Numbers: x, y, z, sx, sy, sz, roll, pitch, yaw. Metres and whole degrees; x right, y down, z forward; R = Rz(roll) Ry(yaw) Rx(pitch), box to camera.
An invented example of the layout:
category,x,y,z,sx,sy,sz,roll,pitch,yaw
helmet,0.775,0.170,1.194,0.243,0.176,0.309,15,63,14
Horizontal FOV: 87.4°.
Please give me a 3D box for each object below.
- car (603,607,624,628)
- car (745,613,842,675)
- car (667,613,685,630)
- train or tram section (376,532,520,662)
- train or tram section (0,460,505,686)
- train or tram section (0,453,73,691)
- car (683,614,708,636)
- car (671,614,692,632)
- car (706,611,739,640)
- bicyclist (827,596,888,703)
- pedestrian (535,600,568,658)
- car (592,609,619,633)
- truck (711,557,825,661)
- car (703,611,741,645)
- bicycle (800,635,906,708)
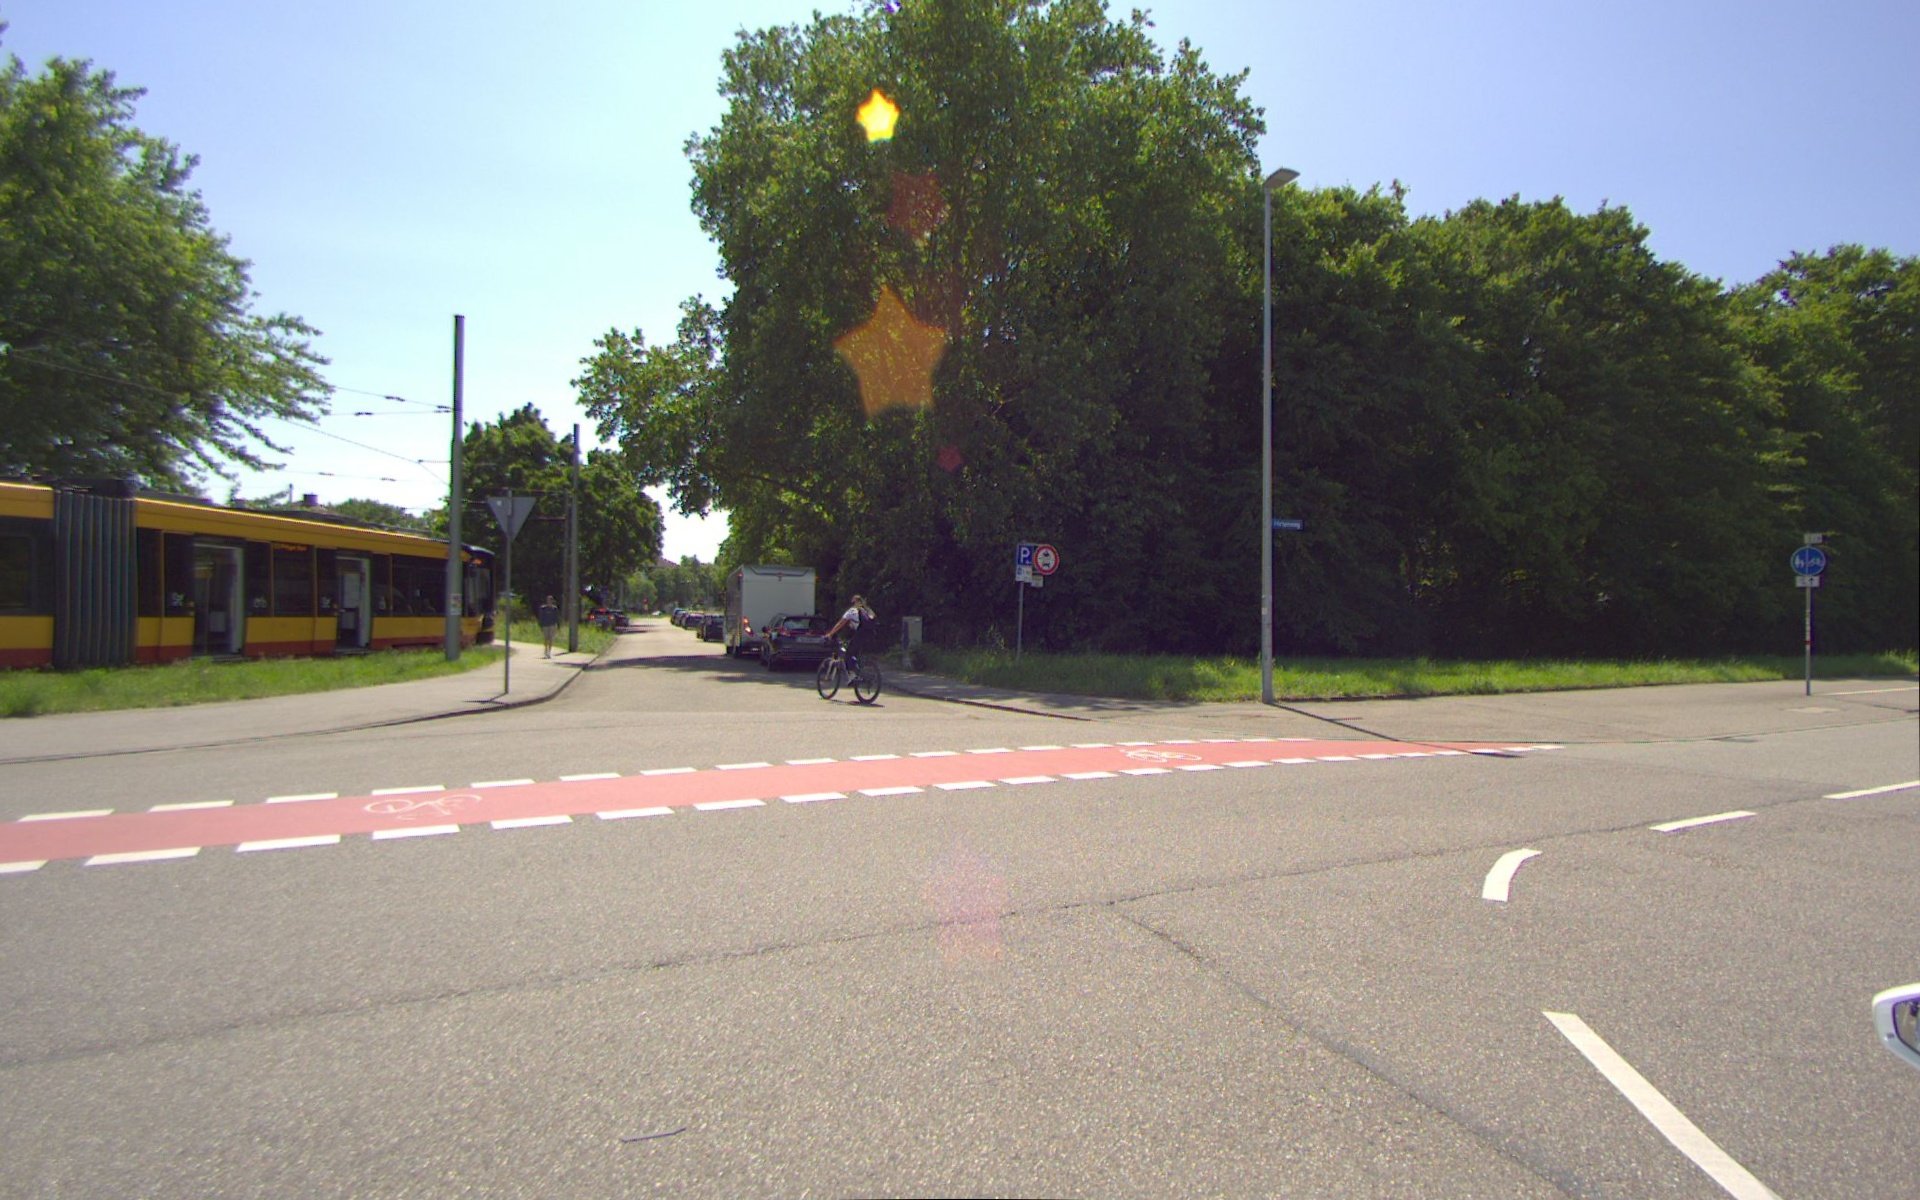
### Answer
category,x,y,z,sx,sy,sz,roll,pitch,yaw
car,-29.049,1.466,84.370,1.612,1.639,3.851,1,0,-19
car,-4.440,1.105,26.253,1.642,1.436,4.292,3,-2,-21
car,-30.352,2.283,107.313,1.867,1.639,4.201,1,0,-16
train or tram section,-18.836,0.112,36.256,2.994,3.808,14.062,1,-2,-34
train or tram section,-15.839,-0.248,24.015,2.965,3.808,14.055,0,-2,2
train or tram section,-18.912,-0.566,12.409,2.971,3.808,11.602,-1,-2,28
car,-21.666,2.027,82.237,1.867,1.639,4.201,1,0,-16
car,-26.304,2.155,94.929,1.867,1.639,4.201,1,0,-16
car,-14.350,1.520,60.649,1.866,1.639,4.204,1,0,-13
bicyclist,-1.724,0.811,16.889,0.662,1.729,0.759,0,1,-44
pedestrian,-12.342,0.859,30.335,0.844,1.732,0.804,1,0,-26
car,-26.384,1.537,74.797,1.797,1.639,4.198,1,0,-19
truck,-6.450,0.346,32.845,2.528,2.948,7.310,2,-2,-19
car,-12.677,1.460,53.547,1.866,1.639,4.204,1,0,-13
bicycle,-1.841,1.178,17.021,0.667,1.069,2.018,1,1,-44
